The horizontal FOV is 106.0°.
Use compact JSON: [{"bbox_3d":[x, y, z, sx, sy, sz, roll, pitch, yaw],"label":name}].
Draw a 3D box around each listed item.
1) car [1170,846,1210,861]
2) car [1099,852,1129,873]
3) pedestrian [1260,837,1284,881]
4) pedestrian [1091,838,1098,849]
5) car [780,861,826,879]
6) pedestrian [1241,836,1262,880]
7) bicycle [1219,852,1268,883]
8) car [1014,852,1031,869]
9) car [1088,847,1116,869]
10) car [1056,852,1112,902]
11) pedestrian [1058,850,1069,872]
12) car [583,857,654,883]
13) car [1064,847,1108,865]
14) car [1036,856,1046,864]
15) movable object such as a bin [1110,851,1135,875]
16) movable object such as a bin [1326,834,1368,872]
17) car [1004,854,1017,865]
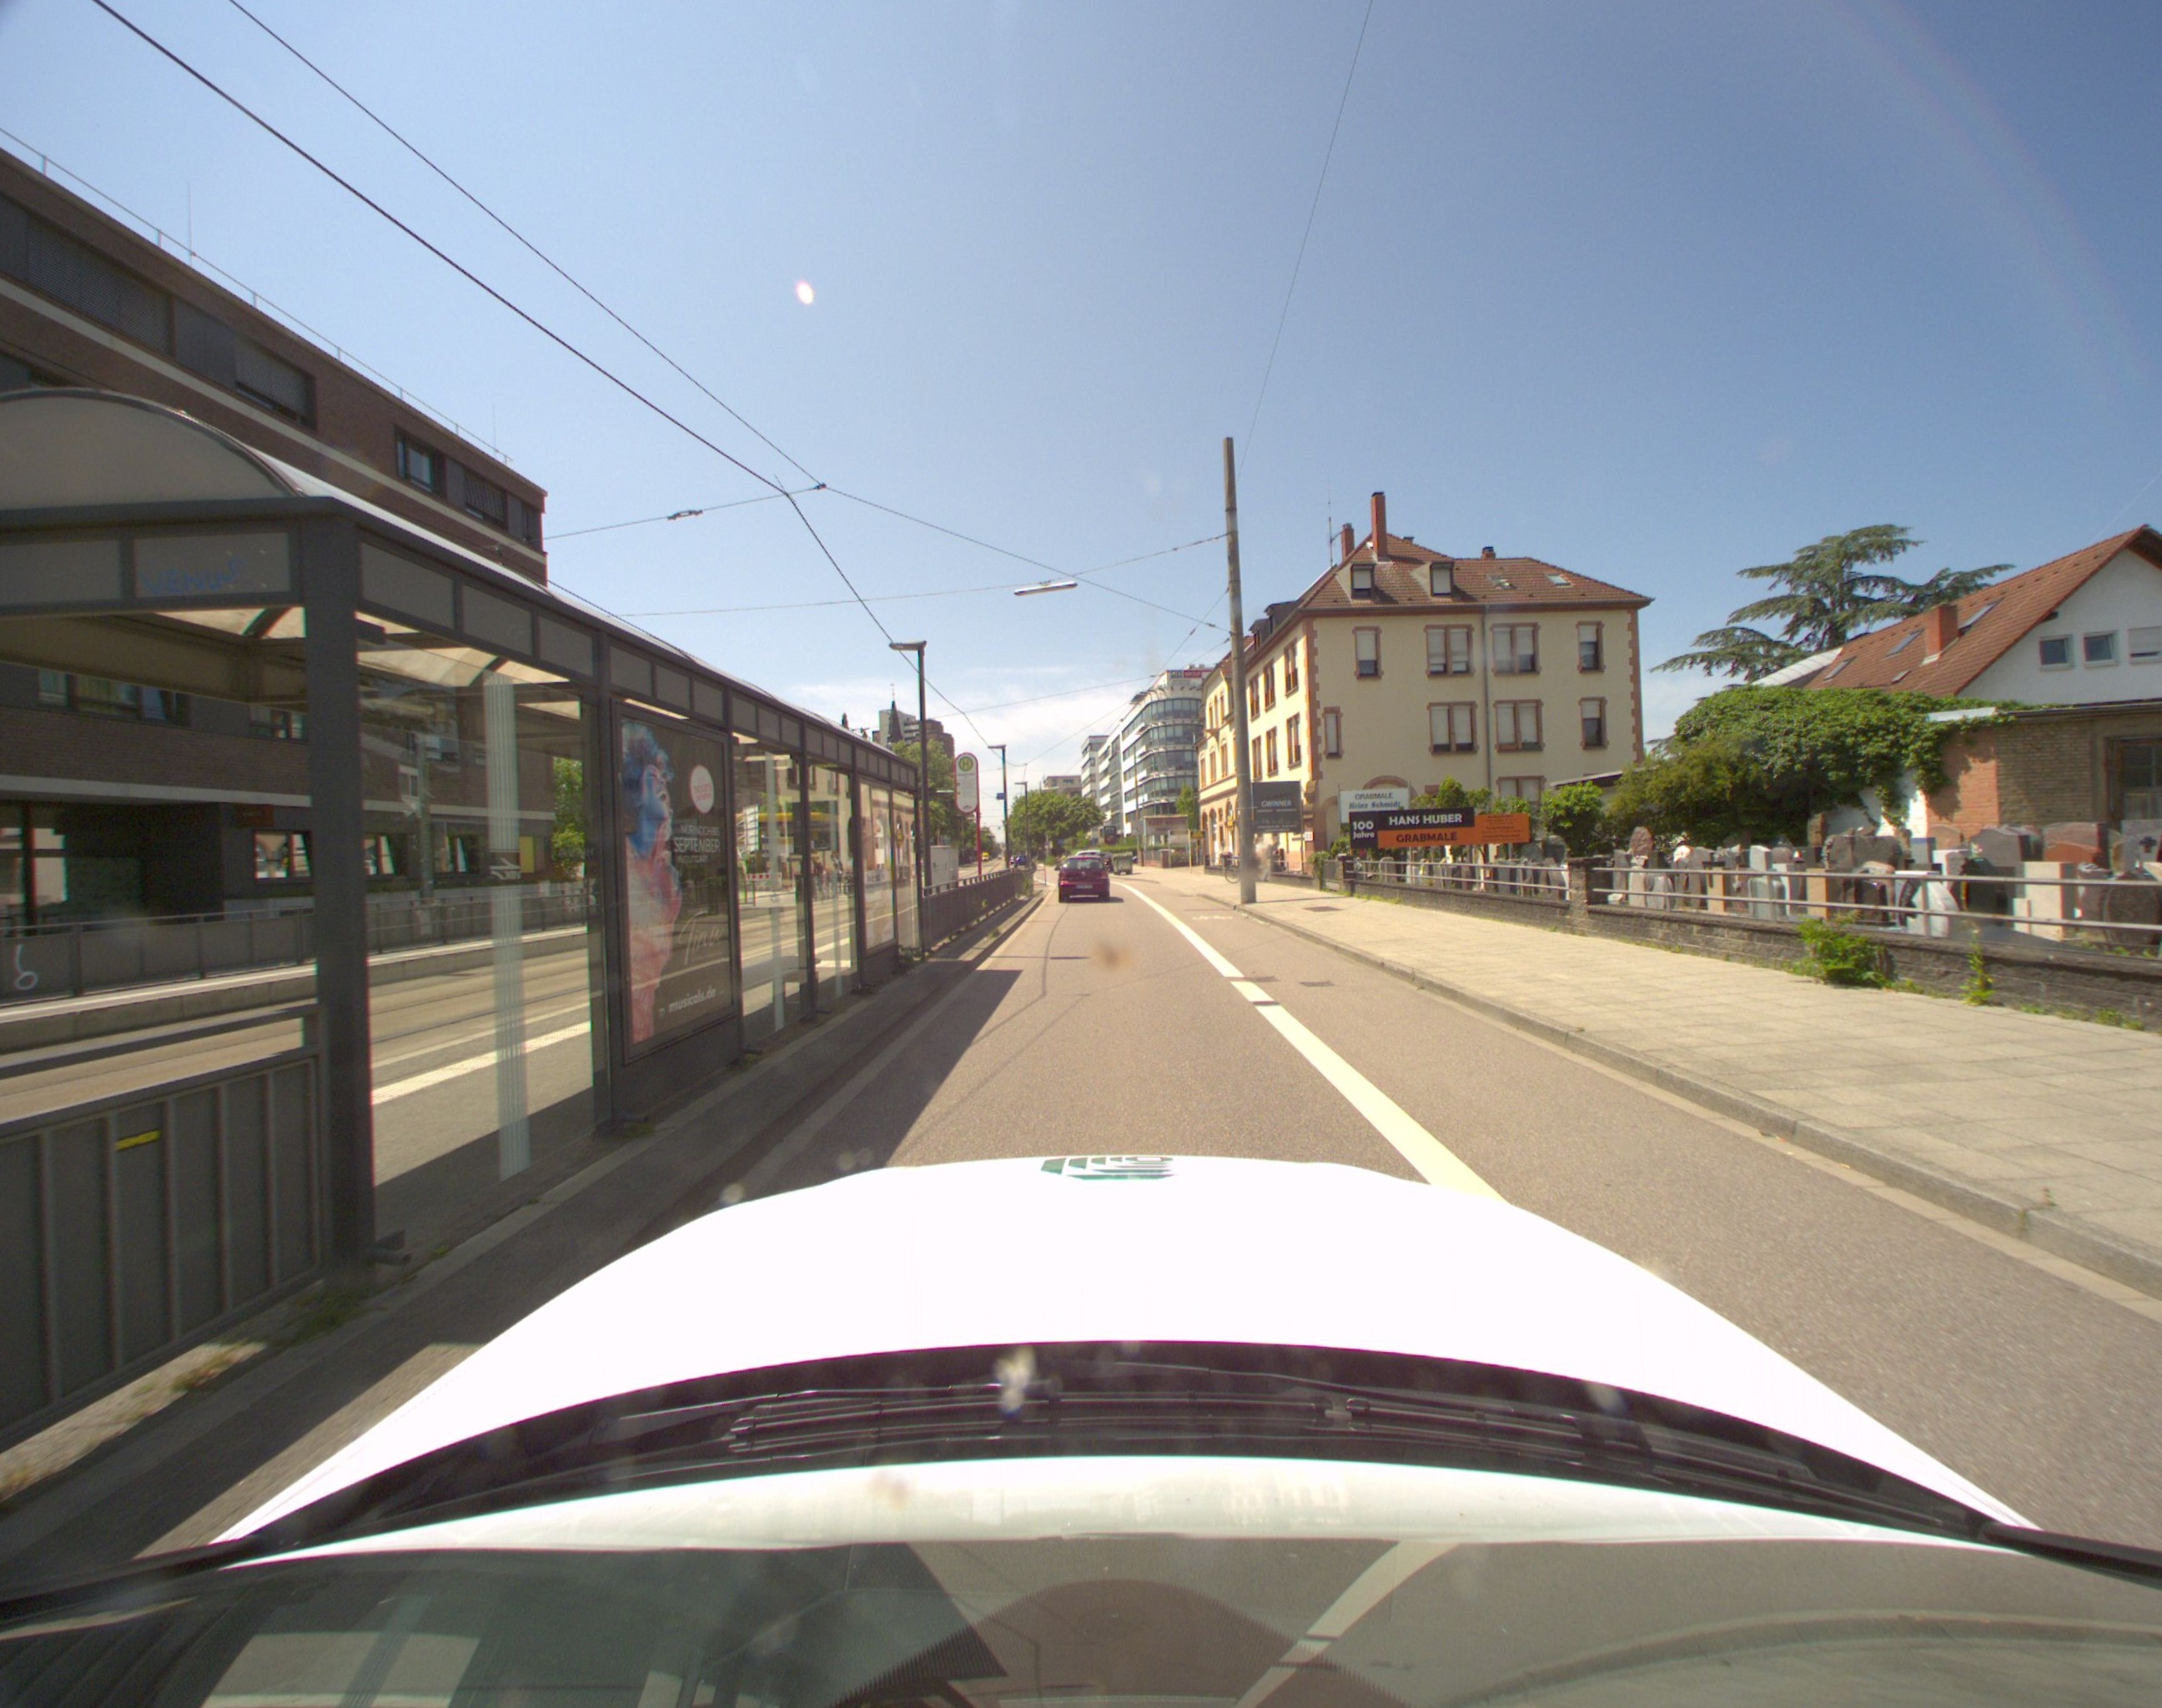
[{"bbox_3d":[12.055,-0.079,90.324,4.137,1.459,1.816,-2,0,-2],"label":"car"},{"bbox_3d":[2.638,0.665,65.977,1.769,1.548,4.460,-4,0,-5],"label":"car"},{"bbox_3d":[7.460,0.187,31.855,0.819,1.691,0.591,-2,0,10],"label":"pedestrian"},{"bbox_3d":[2.129,-1.678,129.328,0.870,1.715,1.091,-4,-1,4],"label":"pedestrian"},{"bbox_3d":[-25.485,1.448,74.763,1.811,1.504,4.219,0,2,18],"label":"car"},{"bbox_3d":[6.920,0.167,33.000,0.681,1.772,0.506,-2,0,24],"label":"pedestrian"},{"bbox_3d":[6.535,0.557,32.731,1.785,1.127,0.593,-4,-1,28],"label":"bicycle"},{"bbox_3d":[-7.591,0.817,105.263,1.991,2.013,3.992,-1,0,-6],"label":"car"},{"bbox_3d":[1.785,0.346,72.025,1.921,1.693,5.074,-4,0,-4],"label":"car"},{"bbox_3d":[0.162,0.691,26.660,1.612,1.486,4.003,-1,0,3],"label":"car"},{"bbox_3d":[-1.536,0.605,72.825,0.783,1.960,0.586,-2,0,-21],"label":"pedestrian"},{"bbox_3d":[-32.202,1.107,56.724,4.229,1.746,1.901,-1,0,18],"label":"car"},{"bbox_3d":[0.531,0.246,87.647,4.531,1.799,1.996,-2,0,-6],"label":"car"},{"bbox_3d":[-7.985,1.184,162.116,1.686,1.503,3.620,-4,0,-6],"label":"car"},{"bbox_3d":[2.748,0.607,54.631,1.391,1.455,1.136,-4,0,-9],"label":"movable object such as a bin"},{"bbox_3d":[11.144,-0.033,34.123,1.325,1.499,1.046,-4,0,0],"label":"movable object such as a bin"},{"bbox_3d":[-11.798,0.917,136.715,1.990,1.739,3.993,-3,0,-5],"label":"car"}]
